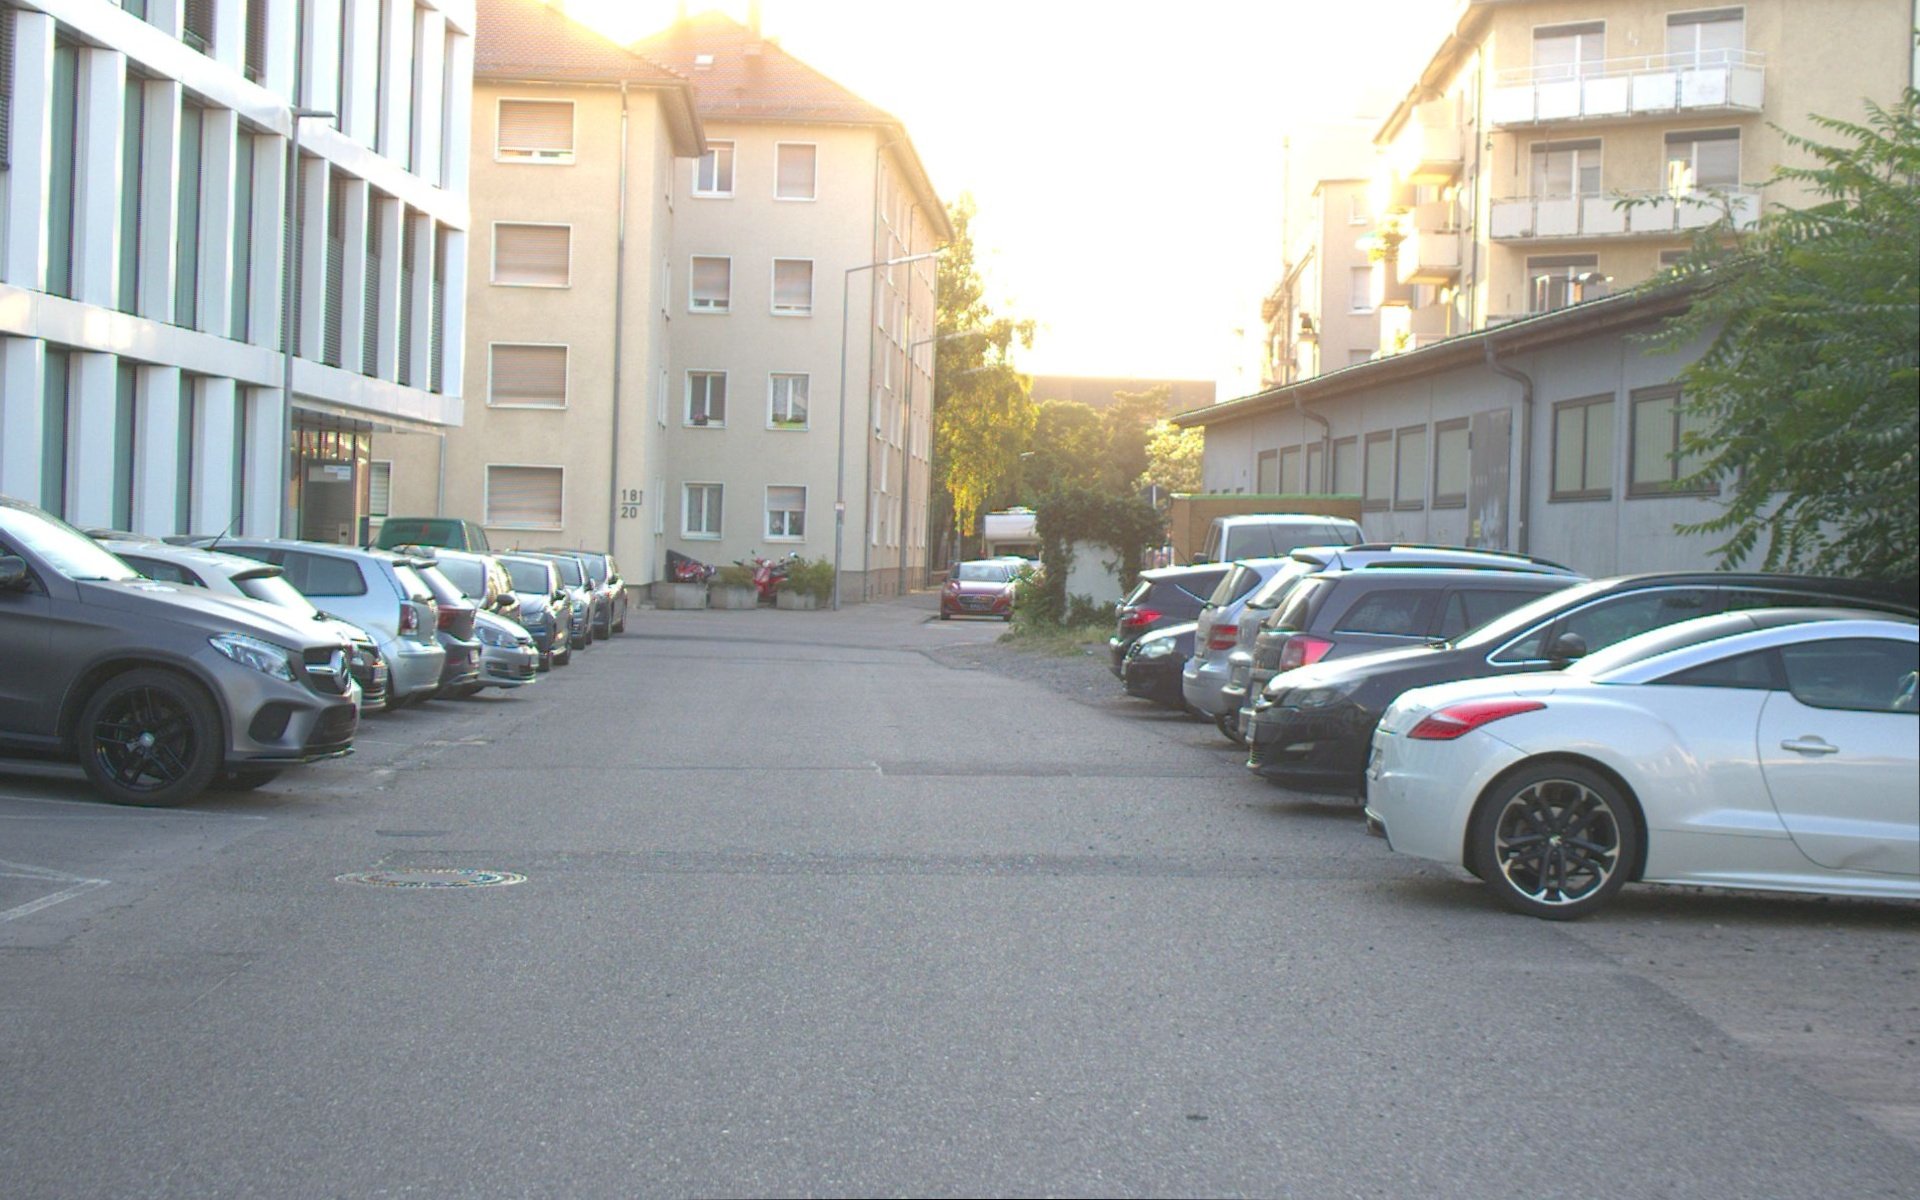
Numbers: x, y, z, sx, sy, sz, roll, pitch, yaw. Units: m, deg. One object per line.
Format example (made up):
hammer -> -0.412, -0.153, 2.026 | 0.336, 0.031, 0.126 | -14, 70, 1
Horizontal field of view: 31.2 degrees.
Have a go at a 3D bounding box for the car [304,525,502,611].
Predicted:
car -> -12.048, -0.706, 74.494 | 4.006, 1.612, 1.881 | 2, 5, -2

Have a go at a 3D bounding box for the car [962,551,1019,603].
car -> 0.902, -0.669, 99.445 | 1.616, 1.468, 3.505 | 0, 1, 1

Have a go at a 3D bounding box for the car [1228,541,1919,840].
car -> 3.774, 0.518, 20.237 | 4.202, 1.498, 1.890 | 3, 0, 1

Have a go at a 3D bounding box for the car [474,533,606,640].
car -> -6.588, -0.246, 54.301 | 1.710, 1.474, 4.185 | 5, 1, -4

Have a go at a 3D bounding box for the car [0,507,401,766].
car -> -5.707, 0.181, 22.570 | 3.667, 1.506, 1.696 | 3, 1, 5

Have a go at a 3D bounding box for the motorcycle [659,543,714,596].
motorcycle -> -6.706, -0.735, 84.355 | 0.724, 1.260, 2.080 | 2, 1, 13

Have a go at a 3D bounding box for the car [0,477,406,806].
car -> -5.751, 0.133, 19.880 | 4.619, 1.700, 2.004 | 3, 1, 5

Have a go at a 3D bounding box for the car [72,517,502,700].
car -> -6.310, 0.057, 32.482 | 3.654, 1.506, 1.687 | 3, 1, 2

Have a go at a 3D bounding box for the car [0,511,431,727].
car -> -6.419, 0.111, 27.603 | 3.965, 1.506, 1.796 | 3, 1, 2

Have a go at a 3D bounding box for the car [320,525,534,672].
car -> -5.968, -0.046, 38.930 | 1.648, 1.434, 4.202 | 5, 1, 0

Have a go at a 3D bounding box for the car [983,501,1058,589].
car -> 2.364, -2.090, 131.868 | 2.620, 3.258, 7.696 | 0, 1, 3

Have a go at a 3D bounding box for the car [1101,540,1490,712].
car -> 3.384, 0.245, 35.264 | 3.759, 1.530, 1.891 | 3, 2, 1

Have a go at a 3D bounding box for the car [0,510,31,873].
car -> -5.869, 0.311, 13.782 | 3.781, 1.517, 1.694 | 3, 1, -1

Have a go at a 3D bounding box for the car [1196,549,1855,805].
car -> 3.648, 0.490, 22.714 | 3.983, 1.440, 1.827 | 3, 0, 0

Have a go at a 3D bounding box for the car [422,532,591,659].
car -> -5.854, -0.092, 44.774 | 1.648, 1.434, 4.185 | 5, 1, -2

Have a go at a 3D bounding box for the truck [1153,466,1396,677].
truck -> 3.509, -0.343, 39.481 | 2.097, 2.193, 5.711 | 2, 1, -1

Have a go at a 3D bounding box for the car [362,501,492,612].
car -> -10.060, -0.865, 65.206 | 1.797, 1.973, 4.690 | 2, 2, -1

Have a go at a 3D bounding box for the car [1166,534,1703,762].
car -> 3.795, 0.364, 27.997 | 3.983, 1.604, 1.939 | 3, 1, -2

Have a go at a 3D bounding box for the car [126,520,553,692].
car -> -6.231, 0.038, 34.790 | 3.926, 1.506, 1.687 | 3, 1, 2

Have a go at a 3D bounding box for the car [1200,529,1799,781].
car -> 3.917, 0.378, 25.392 | 3.983, 1.613, 1.827 | 3, 1, -4

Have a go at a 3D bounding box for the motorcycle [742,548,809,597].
motorcycle -> -4.527, -0.665, 84.481 | 0.689, 1.156, 2.031 | 2, 1, 27

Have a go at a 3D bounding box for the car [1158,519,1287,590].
car -> 10.126, -1.749, 132.974 | 4.817, 2.708, 2.136 | 0, 1, 0

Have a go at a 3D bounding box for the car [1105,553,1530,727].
car -> 3.362, 0.366, 32.832 | 3.759, 1.439, 1.845 | 3, 0, -2

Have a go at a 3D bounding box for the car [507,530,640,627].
car -> -6.707, -0.395, 59.979 | 1.779, 1.474, 4.331 | 5, 1, -1

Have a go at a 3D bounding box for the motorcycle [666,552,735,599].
motorcycle -> -6.178, -0.572, 82.029 | 0.724, 1.075, 2.078 | 2, 1, 23

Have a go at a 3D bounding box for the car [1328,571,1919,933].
car -> 3.808, 0.663, 15.078 | 4.203, 1.362, 1.823 | 3, 1, 3

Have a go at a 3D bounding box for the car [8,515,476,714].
car -> -6.218, 0.103, 30.016 | 3.654, 1.506, 1.687 | 3, 1, 2

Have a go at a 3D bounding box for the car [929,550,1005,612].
car -> 0.199, -0.497, 86.442 | 1.845, 1.468, 4.078 | 2, 1, 1
